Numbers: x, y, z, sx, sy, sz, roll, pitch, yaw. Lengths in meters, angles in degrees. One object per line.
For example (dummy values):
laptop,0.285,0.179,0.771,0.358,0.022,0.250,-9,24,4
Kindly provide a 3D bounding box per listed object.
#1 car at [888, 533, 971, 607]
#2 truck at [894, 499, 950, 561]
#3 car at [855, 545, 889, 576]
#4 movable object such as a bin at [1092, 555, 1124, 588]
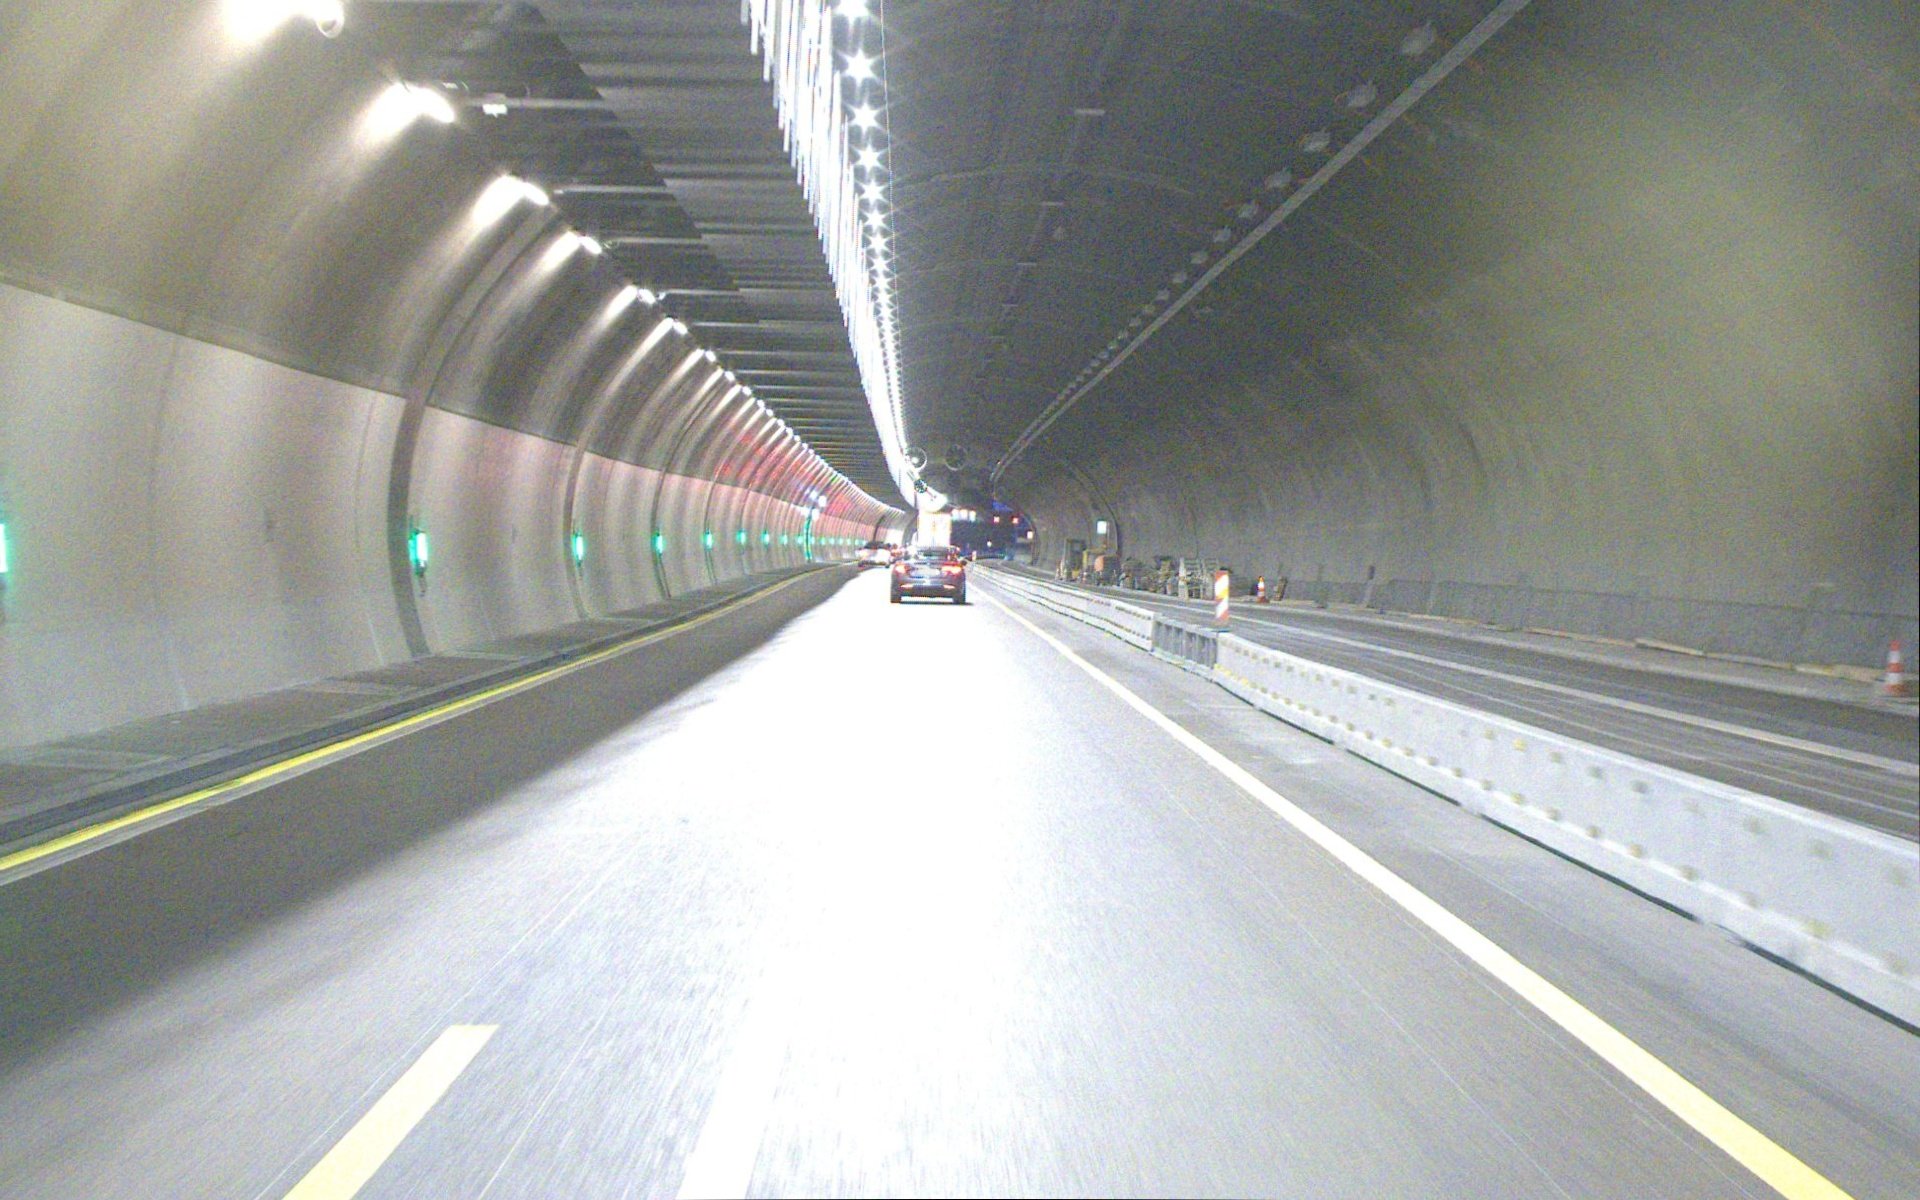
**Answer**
car,-0.793,-0.772,86.167,1.946,1.788,4.001,1,1,-2
truck,-2.856,-5.298,261.866,4.066,4.517,14.966,1,1,-1
car,-5.018,-2.267,196.699,1.930,1.681,4.000,1,1,-1
movable object such as a bin,6.793,-1.314,157.766,1.234,1.437,2.217,3,1,-1
